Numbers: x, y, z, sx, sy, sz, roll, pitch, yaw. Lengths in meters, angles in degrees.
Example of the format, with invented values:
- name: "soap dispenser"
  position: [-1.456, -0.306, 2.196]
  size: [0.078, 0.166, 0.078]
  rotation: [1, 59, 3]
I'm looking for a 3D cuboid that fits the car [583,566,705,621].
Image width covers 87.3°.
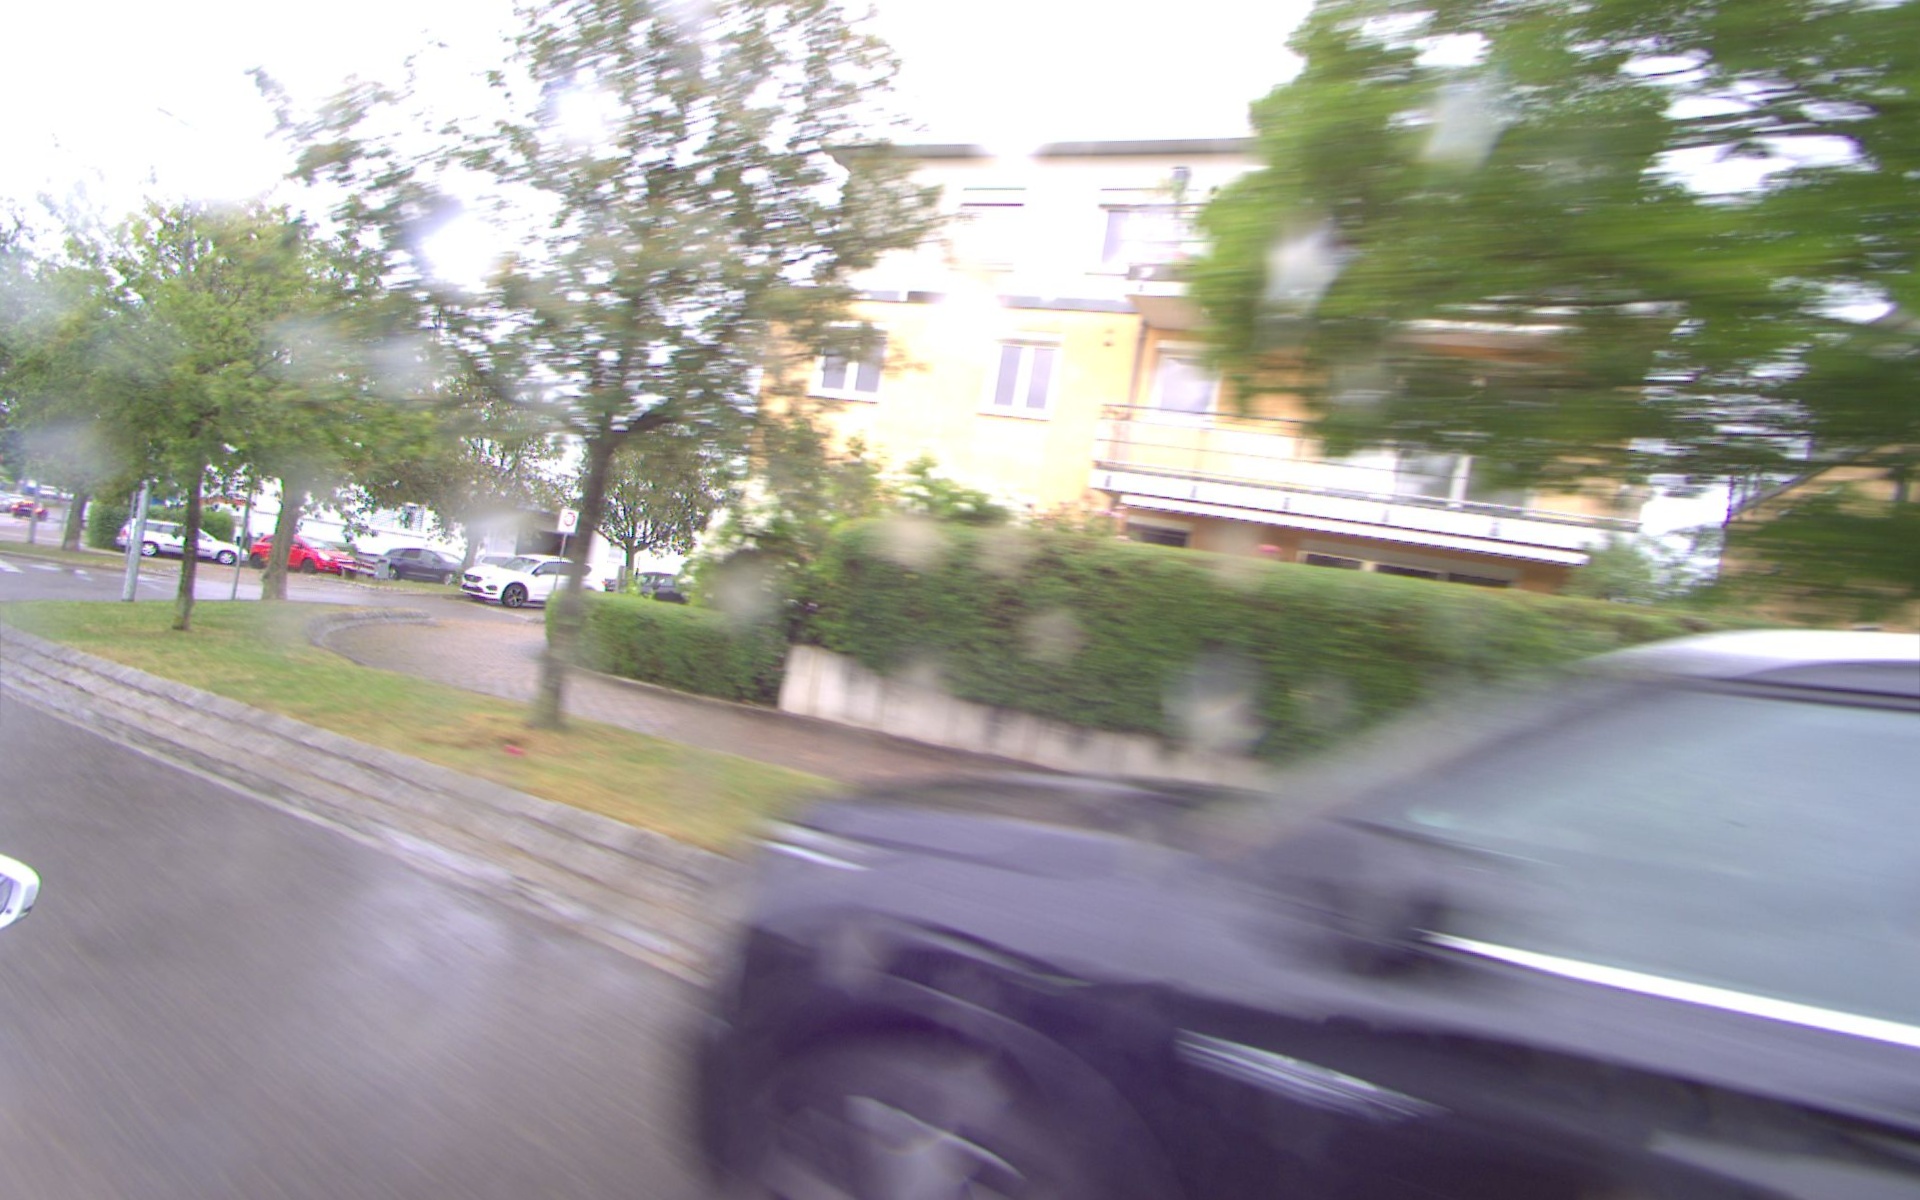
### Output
- name: "car"
  position: [-11.311, -0.198, 36.261]
  size: [1.780, 1.534, 3.994]
  rotation: [7, 0, 28]

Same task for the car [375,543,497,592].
- name: "car"
  position: [-20.845, -1.273, 40.100]
  size: [3.863, 1.434, 1.815]
  rotation: [7, 0, 6]

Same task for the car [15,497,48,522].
- name: "car"
  position: [-75.184, -7.356, 81.518]
  size: [1.681, 1.570, 3.653]
  rotation: [9, -1, -41]

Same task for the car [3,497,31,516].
- name: "car"
  position: [-97.336, -9.653, 103.822]
  size: [1.784, 1.617, 3.955]
  rotation: [6, 0, -40]

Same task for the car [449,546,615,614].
- name: "car"
  position: [-13.611, -0.580, 32.305]
  size: [1.842, 1.676, 4.673]
  rotation: [7, 0, 28]

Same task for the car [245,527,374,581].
- name: "car"
  position: [-24.487, -1.719, 37.914]
  size: [3.900, 1.493, 1.879]
  rotation: [7, 0, 15]

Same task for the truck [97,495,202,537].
- name: "truck"
  position: [-72.129, -7.419, 89.720]
  size: [6.810, 2.760, 2.623]
  rotation: [7, 0, -31]

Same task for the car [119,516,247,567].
- name: "car"
  position: [-32.711, -2.461, 42.405]
  size: [4.079, 1.586, 1.976]
  rotation: [7, 0, -42]

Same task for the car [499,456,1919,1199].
- name: "car"
  position: [1.475, 0.869, 1.889]
  size: [4.520, 1.723, 1.813]
  rotation: [7, -1, 29]

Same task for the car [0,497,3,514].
- name: "car"
  position: [-90.644, -8.912, 93.655]
  size: [1.867, 1.617, 3.955]
  rotation: [6, 0, -40]
